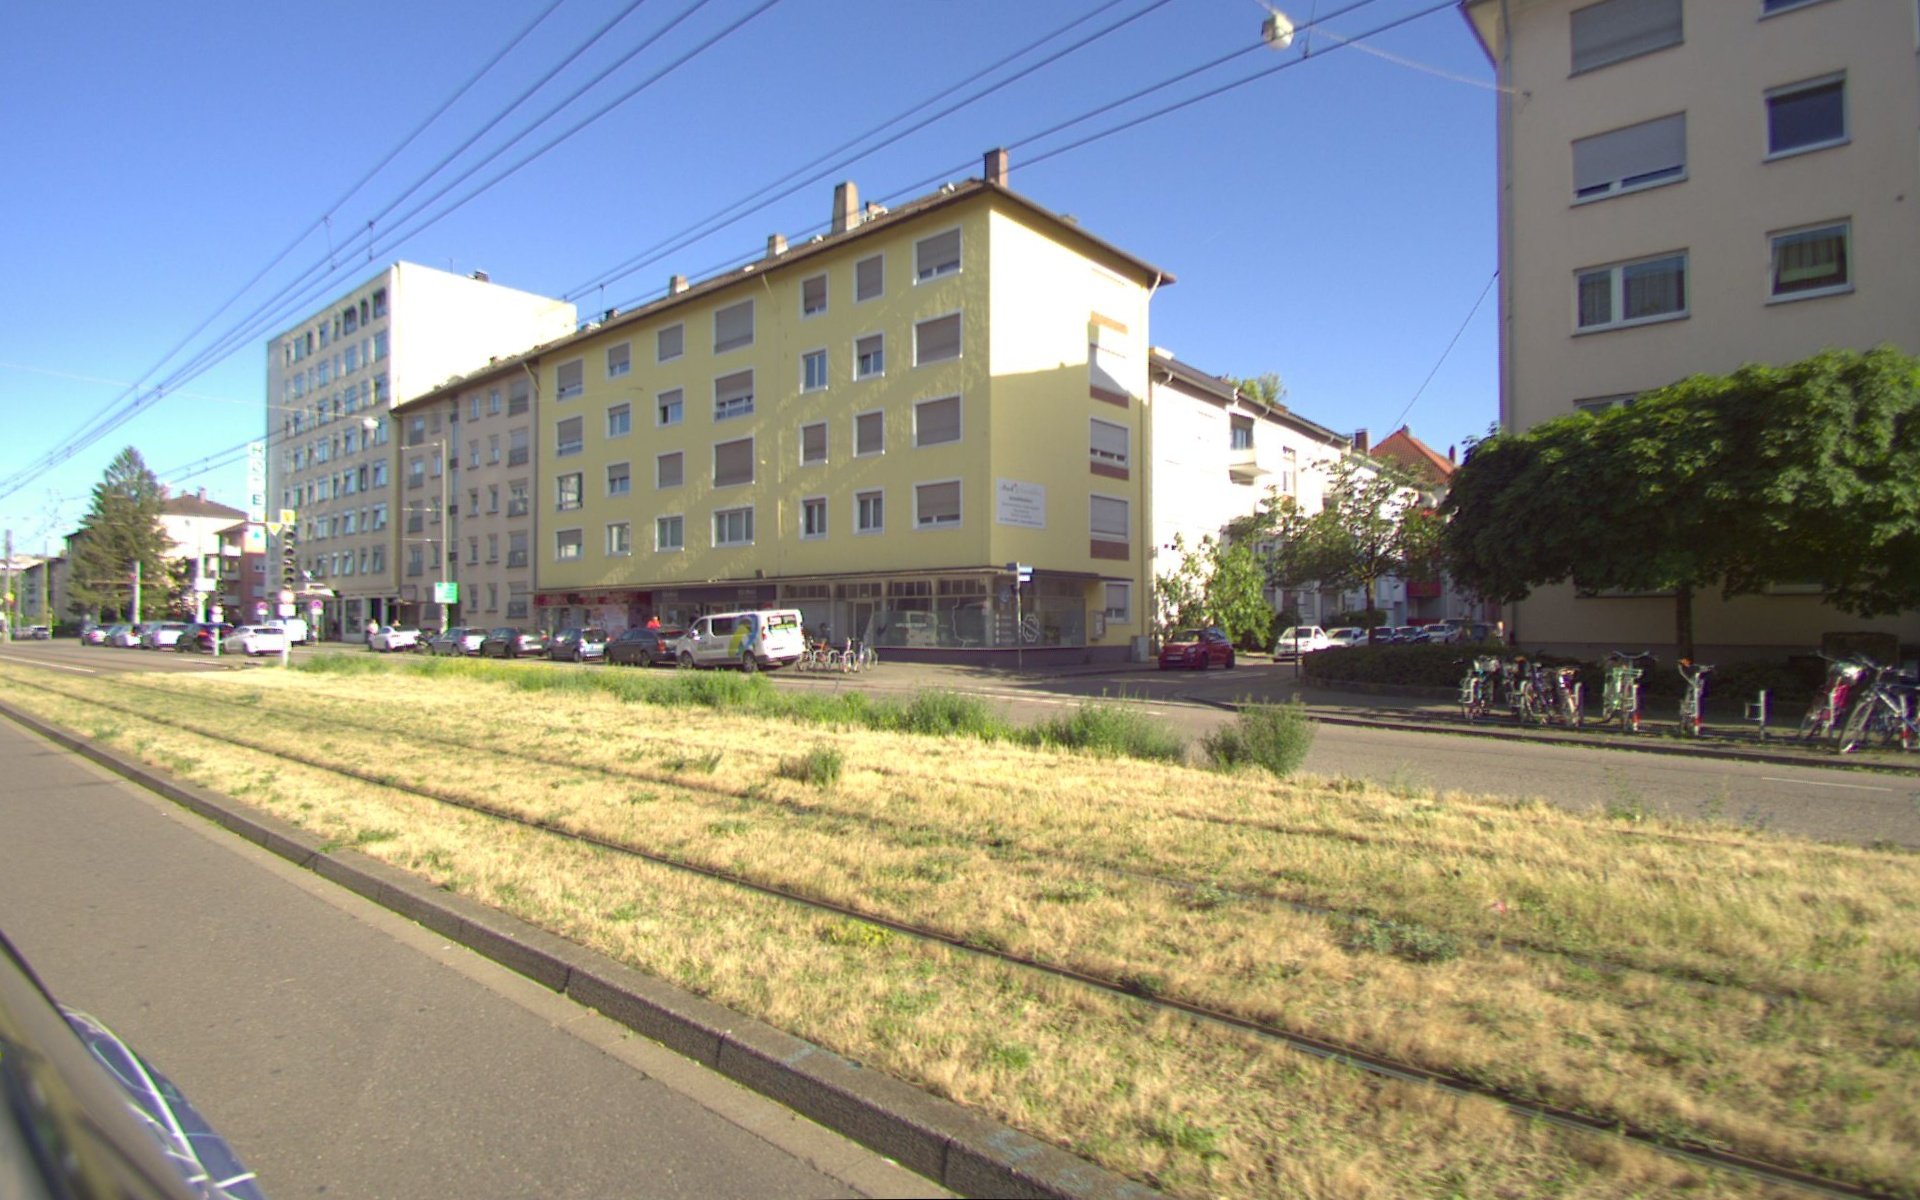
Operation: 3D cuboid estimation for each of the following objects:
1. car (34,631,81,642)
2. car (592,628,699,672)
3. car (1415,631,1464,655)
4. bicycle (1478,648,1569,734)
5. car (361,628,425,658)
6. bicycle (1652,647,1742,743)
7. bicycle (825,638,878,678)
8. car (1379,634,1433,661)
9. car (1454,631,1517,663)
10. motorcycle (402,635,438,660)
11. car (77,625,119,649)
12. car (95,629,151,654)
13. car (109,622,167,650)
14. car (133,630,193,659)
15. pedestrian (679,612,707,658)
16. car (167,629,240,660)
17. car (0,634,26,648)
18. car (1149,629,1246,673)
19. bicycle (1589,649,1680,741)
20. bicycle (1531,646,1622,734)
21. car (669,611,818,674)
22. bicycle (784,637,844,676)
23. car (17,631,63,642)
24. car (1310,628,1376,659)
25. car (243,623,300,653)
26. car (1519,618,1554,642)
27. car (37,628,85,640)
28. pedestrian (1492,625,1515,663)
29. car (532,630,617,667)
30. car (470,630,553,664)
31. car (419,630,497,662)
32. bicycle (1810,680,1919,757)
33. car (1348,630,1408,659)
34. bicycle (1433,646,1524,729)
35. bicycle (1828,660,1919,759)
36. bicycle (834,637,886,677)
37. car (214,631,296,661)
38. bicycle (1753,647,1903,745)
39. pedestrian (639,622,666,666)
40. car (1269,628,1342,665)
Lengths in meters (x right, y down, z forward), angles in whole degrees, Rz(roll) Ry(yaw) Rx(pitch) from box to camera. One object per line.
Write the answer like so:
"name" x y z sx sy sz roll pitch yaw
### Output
"car" -107.191 4.342 120.239 1.737 1.342 3.946 -2 -3 40
"car" -12.150 1.894 38.989 4.593 1.485 1.764 -2 1 41
"car" 29.022 2.607 61.189 1.771 1.424 3.948 -2 -4 39
"bicycle" 8.681 1.359 15.549 2.024 1.101 0.616 -3 1 -43
"car" -31.159 2.330 55.552 4.197 1.497 1.740 -2 0 41
"bicycle" 10.236 1.277 14.031 2.024 1.101 0.616 -3 1 -43
"bicycle" -3.373 1.802 31.572 0.390 1.114 1.800 -2 0 41
"car" 24.827 2.641 56.252 1.771 1.424 3.948 -2 -4 39
"car" 23.834 2.136 45.870 1.771 1.424 3.948 -2 -4 39
"motorcycle" -28.134 2.469 52.782 0.481 1.147 2.107 -2 0 7
"car" -59.867 2.588 70.266 3.997 1.571 1.596 -2 -4 41
"car" -55.048 2.738 66.503 4.362 1.562 1.974 -2 -4 39
"car" -49.977 2.197 61.501 4.236 1.562 1.838 -2 -4 39
"car" -44.656 2.495 56.663 4.605 1.593 1.764 -2 -3 41
"pedestrian" -11.100 1.455 42.116 0.923 1.874 0.664 -2 0 41
"car" -38.999 2.274 52.128 4.406 1.540 1.767 -2 -3 36
"car" -107.067 4.661 113.728 1.693 1.397 3.725 -2 0 -18
"car" 8.332 1.781 35.314 1.771 1.424 3.948 -2 -4 39
"bicycle" 9.717 1.326 14.555 2.024 1.101 0.616 -3 1 -43
"bicycle" 9.170 1.295 15.021 2.024 1.101 0.616 -3 1 -43
"car" -7.611 1.462 35.242 5.493 1.964 1.975 -2 0 38
"bicycle" -4.704 1.803 32.801 0.472 1.114 2.076 -2 1 41
"car" -111.614 4.415 122.774 1.737 1.342 3.946 -2 -3 40
"car" 18.150 2.061 47.870 1.771 1.424 3.948 -2 -4 39
"car" -47.839 2.628 70.295 4.665 1.912 1.974 -2 0 39
"car" 49.855 2.633 87.451 2.013 1.925 4.442 -2 -4 38
"car" -103.553 3.938 116.567 1.737 1.342 3.946 -2 -3 40
"pedestrian" 21.940 1.779 40.862 0.665 1.505 0.582 -2 0 39
"car" -16.375 2.028 42.899 3.766 1.395 1.765 -2 1 41
"car" -20.637 2.130 46.467 4.413 1.431 1.764 -2 1 41
"car" -24.767 2.244 49.861 4.410 1.395 1.765 -2 0 39
"bicycle" 11.591 1.421 12.156 2.046 0.872 0.374 -2 0 30
"car" 21.335 2.286 51.608 1.771 1.424 3.948 -2 -4 39
"bicycle" 8.235 1.354 16.034 2.024 1.101 0.616 -3 1 -43
"bicycle" 11.387 1.270 11.721 1.928 1.101 0.506 -2 0 30
"bicycle" -3.079 1.745 31.291 0.390 1.114 1.800 -2 0 41
"car" -33.599 2.188 48.175 4.405 1.395 1.817 -2 -3 35
"bicycle" 11.457 1.236 13.350 2.019 1.101 0.617 -2 0 -22
"pedestrian" -12.583 1.801 41.432 0.844 1.756 0.664 -2 0 41
"car" 15.166 2.040 44.353 1.771 1.542 3.948 -2 -4 39
